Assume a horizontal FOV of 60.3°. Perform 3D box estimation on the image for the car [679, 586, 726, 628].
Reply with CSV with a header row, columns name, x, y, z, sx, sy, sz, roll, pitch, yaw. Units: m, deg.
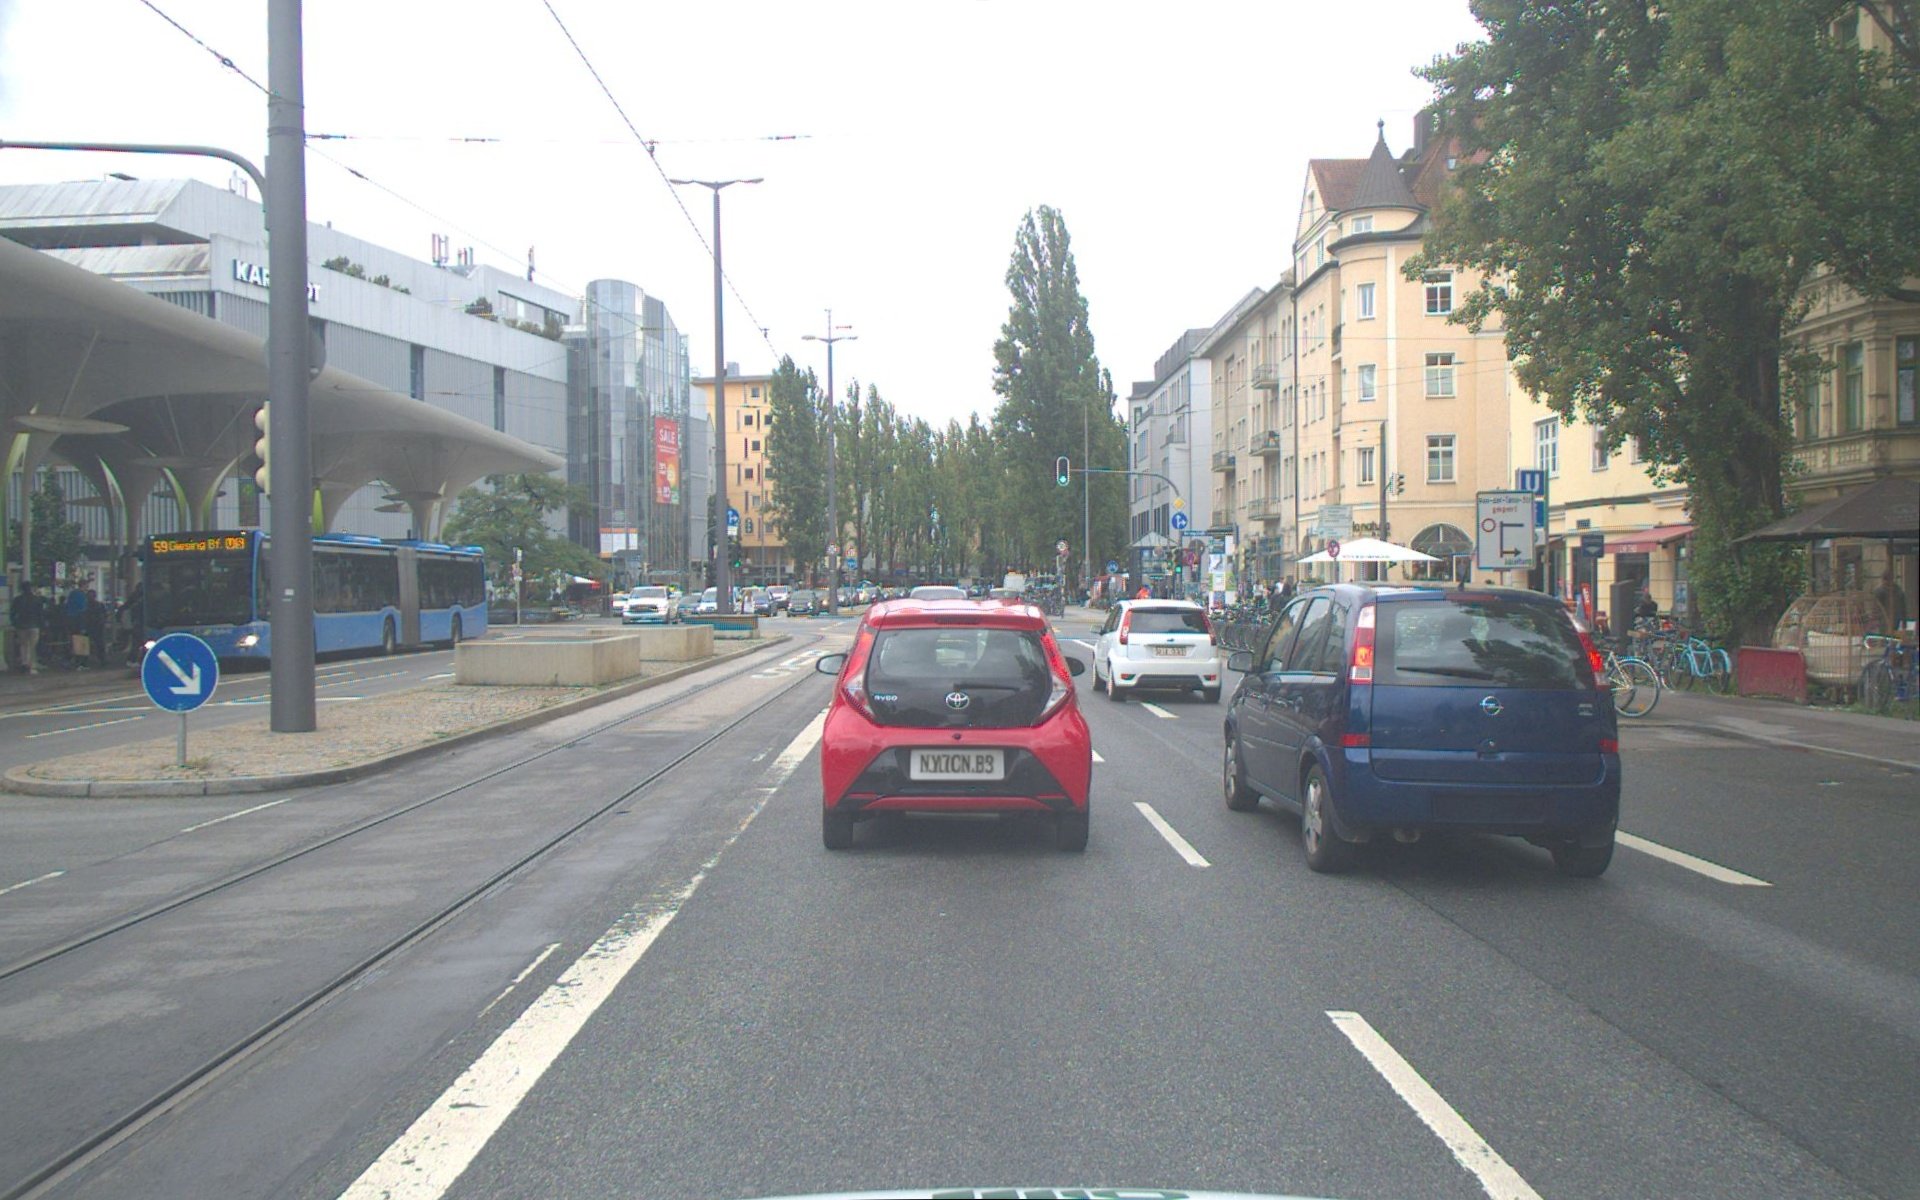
name,x,y,z,sx,sy,sz,roll,pitch,yaw
car,-12.386,0.322,79.694,1.750,1.887,4.216,-2,0,-3

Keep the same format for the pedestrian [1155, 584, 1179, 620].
name,x,y,z,sx,sy,sz,roll,pitch,yaw
pedestrian,9.926,0.100,79.401,0.820,1.720,0.816,-1,0,37

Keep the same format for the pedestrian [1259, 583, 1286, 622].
name,x,y,z,sx,sy,sz,roll,pitch,yaw
pedestrian,12.471,0.095,66.013,0.717,1.567,0.887,-1,0,-15

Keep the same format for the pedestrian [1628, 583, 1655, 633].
name,x,y,z,sx,sy,sz,roll,pitch,yaw
pedestrian,18.302,0.209,44.417,0.485,1.312,0.552,-1,0,-1

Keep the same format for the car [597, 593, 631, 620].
name,x,y,z,sx,sy,sz,roll,pitch,yaw
car,-21.550,0.388,102.982,1.959,1.562,4.400,-2,1,-13

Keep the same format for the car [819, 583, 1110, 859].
name,x,y,z,sx,sy,sz,roll,pitch,yaw
car,0.036,0.659,10.732,1.572,1.487,3.130,2,0,0

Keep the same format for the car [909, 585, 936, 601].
name,x,y,z,sx,sy,sz,roll,pitch,yaw
car,-4.136,-0.798,182.004,1.951,1.721,4.925,3,1,10

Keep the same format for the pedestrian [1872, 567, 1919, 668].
name,x,y,z,sx,sy,sz,roll,pitch,yaw
pedestrian,16.715,0.311,29.430,0.588,1.769,0.666,-1,0,-1

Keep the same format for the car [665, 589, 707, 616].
name,x,y,z,sx,sy,sz,roll,pitch,yaw
car,-15.014,0.137,90.752,1.639,1.402,4.612,-1,0,-2

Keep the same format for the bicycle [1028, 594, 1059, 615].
name,x,y,z,sx,sy,sz,roll,pitch,yaw
bicycle,4.856,0.256,96.307,1.765,1.178,0.486,0,0,30

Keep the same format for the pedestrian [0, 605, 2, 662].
name,x,y,z,sx,sy,sz,roll,pitch,yaw
pedestrian,-27.952,0.983,47.541,0.562,1.638,0.546,-1,0,-10

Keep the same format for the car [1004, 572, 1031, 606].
name,x,y,z,sx,sy,sz,roll,pitch,yaw
car,4.779,-0.950,137.895,2.063,2.766,4.804,-1,0,0

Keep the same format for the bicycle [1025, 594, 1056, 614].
name,x,y,z,sx,sy,sz,roll,pitch,yaw
bicycle,4.737,0.255,97.682,1.768,1.178,0.650,0,0,36

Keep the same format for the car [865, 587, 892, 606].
name,x,y,z,sx,sy,sz,roll,pitch,yaw
car,-7.847,-0.387,158.910,1.895,1.769,4.592,1,1,6

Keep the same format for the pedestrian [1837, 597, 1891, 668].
name,x,y,z,sx,sy,sz,roll,pitch,yaw
pedestrian,16.121,0.573,29.499,0.588,1.243,0.666,-1,0,-1

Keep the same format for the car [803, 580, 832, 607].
name,x,y,z,sx,sy,sz,roll,pitch,yaw
car,-8.568,-0.386,99.357,1.476,1.561,2.831,-2,1,-9

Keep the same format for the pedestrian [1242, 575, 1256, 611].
name,x,y,z,sx,sy,sz,roll,pitch,yaw
pedestrian,13.977,-0.350,79.971,0.554,1.699,0.562,0,3,22

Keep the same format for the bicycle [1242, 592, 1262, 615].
name,x,y,z,sx,sy,sz,roll,pitch,yaw
bicycle,14.504,0.166,82.236,0.485,1.077,1.864,-1,0,-5

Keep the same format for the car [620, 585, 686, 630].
name,x,y,z,sx,sy,sz,roll,pitch,yaw
car,-14.081,0.310,76.190,2.131,1.920,6.153,-1,0,-3

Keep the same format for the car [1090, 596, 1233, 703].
name,x,y,z,sx,sy,sz,roll,pitch,yaw
car,2.989,0.692,25.103,1.665,1.451,3.496,1,0,-1

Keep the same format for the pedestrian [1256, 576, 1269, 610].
name,x,y,z,sx,sy,sz,roll,pitch,yaw
pedestrian,14.653,-0.336,80.102,0.548,1.637,0.568,-1,3,12

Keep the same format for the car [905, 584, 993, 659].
name,x,y,z,sx,sy,sz,roll,pitch,yaw
car,-0.273,0.457,39.030,1.953,1.646,3.999,-1,0,-1

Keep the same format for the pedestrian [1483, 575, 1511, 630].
name,x,y,z,sx,sy,sz,roll,pitch,yaw
pedestrian,16.303,0.064,50.223,0.602,1.661,0.677,-1,0,-1

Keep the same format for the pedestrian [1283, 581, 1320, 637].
name,x,y,z,sx,sy,sz,roll,pitch,yaw
pedestrian,11.073,0.280,53.605,0.867,1.773,0.854,-1,0,-17

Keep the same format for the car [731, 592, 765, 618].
name,x,y,z,sx,sy,sz,roll,pitch,yaw
car,-12.442,0.279,97.337,1.644,1.420,4.231,-1,0,-3

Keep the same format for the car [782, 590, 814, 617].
name,x,y,z,sx,sy,sz,roll,pitch,yaw
car,-9.234,0.172,94.103,1.517,1.471,3.531,-1,0,-10

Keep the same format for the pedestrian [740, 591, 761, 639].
name,x,y,z,sx,sy,sz,roll,pitch,yaw
pedestrian,-7.258,0.527,57.310,0.513,1.646,0.461,-1,0,43

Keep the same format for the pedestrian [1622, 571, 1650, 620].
name,x,y,z,sx,sy,sz,roll,pitch,yaw
pedestrian,20.056,-0.136,49.044,0.534,1.421,0.547,0,0,-27

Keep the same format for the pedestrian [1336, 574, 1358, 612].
name,x,y,z,sx,sy,sz,roll,pitch,yaw
pedestrian,18.181,-0.327,77.720,0.739,1.714,0.673,-4,4,-38

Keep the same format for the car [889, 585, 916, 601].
name,x,y,z,sx,sy,sz,roll,pitch,yaw
car,-6.022,-0.740,172.550,1.951,1.561,4.591,-1,0,9

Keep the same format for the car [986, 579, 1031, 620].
name,x,y,z,sx,sy,sz,roll,pitch,yaw
car,2.253,-0.029,78.207,1.953,1.870,3.999,-1,0,-1

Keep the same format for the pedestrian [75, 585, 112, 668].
name,x,y,z,sx,sy,sz,roll,pitch,yaw
pedestrian,-18.625,0.565,35.568,0.495,1.764,0.572,-1,0,-5

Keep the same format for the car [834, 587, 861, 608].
name,x,y,z,sx,sy,sz,roll,pitch,yaw
car,-9.816,-0.248,144.700,1.706,1.699,4.735,-1,1,4

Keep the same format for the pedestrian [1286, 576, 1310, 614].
name,x,y,z,sx,sy,sz,roll,pitch,yaw
pedestrian,16.292,-0.246,79.660,0.914,1.786,1.065,-1,0,0

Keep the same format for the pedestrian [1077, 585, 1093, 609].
name,x,y,z,sx,sy,sz,roll,pitch,yaw
pedestrian,8.283,-0.186,109.599,0.789,1.548,0.803,-1,0,-31

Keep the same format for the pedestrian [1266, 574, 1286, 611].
name,x,y,z,sx,sy,sz,roll,pitch,yaw
pedestrian,15.272,-0.384,79.941,0.637,1.734,0.726,-3,4,-30

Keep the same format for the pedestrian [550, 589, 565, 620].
name,x,y,z,sx,sy,sz,roll,pitch,yaw
pedestrian,-23.664,0.267,97.308,0.739,1.804,0.767,-1,0,-24

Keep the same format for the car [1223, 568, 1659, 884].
name,x,y,z,sx,sy,sz,roll,pitch,yaw
car,2.782,0.640,10.366,1.668,1.617,3.556,1,0,0

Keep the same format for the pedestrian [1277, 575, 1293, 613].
name,x,y,z,sx,sy,sz,roll,pitch,yaw
pedestrian,15.550,-0.290,79.123,0.635,1.781,0.636,-1,3,-2

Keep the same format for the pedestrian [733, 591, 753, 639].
name,x,y,z,sx,sy,sz,roll,pitch,yaw
pedestrian,-7.545,0.520,57.585,0.482,1.646,0.551,-1,0,-35

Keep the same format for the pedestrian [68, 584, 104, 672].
name,x,y,z,sx,sy,sz,roll,pitch,yaw
pedestrian,-17.886,0.568,33.855,0.557,1.774,0.751,-1,0,-23

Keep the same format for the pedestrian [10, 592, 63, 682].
name,x,y,z,sx,sy,sz,roll,pitch,yaw
pedestrian,-18.457,0.727,33.068,0.701,1.752,0.878,-1,0,-14

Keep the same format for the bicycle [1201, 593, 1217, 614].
name,x,y,z,sx,sy,sz,roll,pitch,yaw
bicycle,12.369,0.181,82.142,0.484,0.992,1.866,-1,0,-1

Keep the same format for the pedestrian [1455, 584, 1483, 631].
name,x,y,z,sx,sy,sz,roll,pitch,yaw
pedestrian,15.673,0.229,50.952,0.662,1.447,0.616,-1,0,-1

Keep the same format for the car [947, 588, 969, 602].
name,x,y,z,sx,sy,sz,roll,pitch,yaw
car,-0.217,-0.645,206.795,1.951,1.758,3.920,-1,0,13

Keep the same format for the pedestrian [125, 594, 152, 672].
name,x,y,z,sx,sy,sz,roll,pitch,yaw
pedestrian,-17.311,0.696,34.847,0.385,1.633,0.390,-1,0,-6

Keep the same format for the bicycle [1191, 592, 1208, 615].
name,x,y,z,sx,sy,sz,roll,pitch,yaw
bicycle,11.878,0.168,82.154,0.555,1.127,1.866,-1,0,-1
